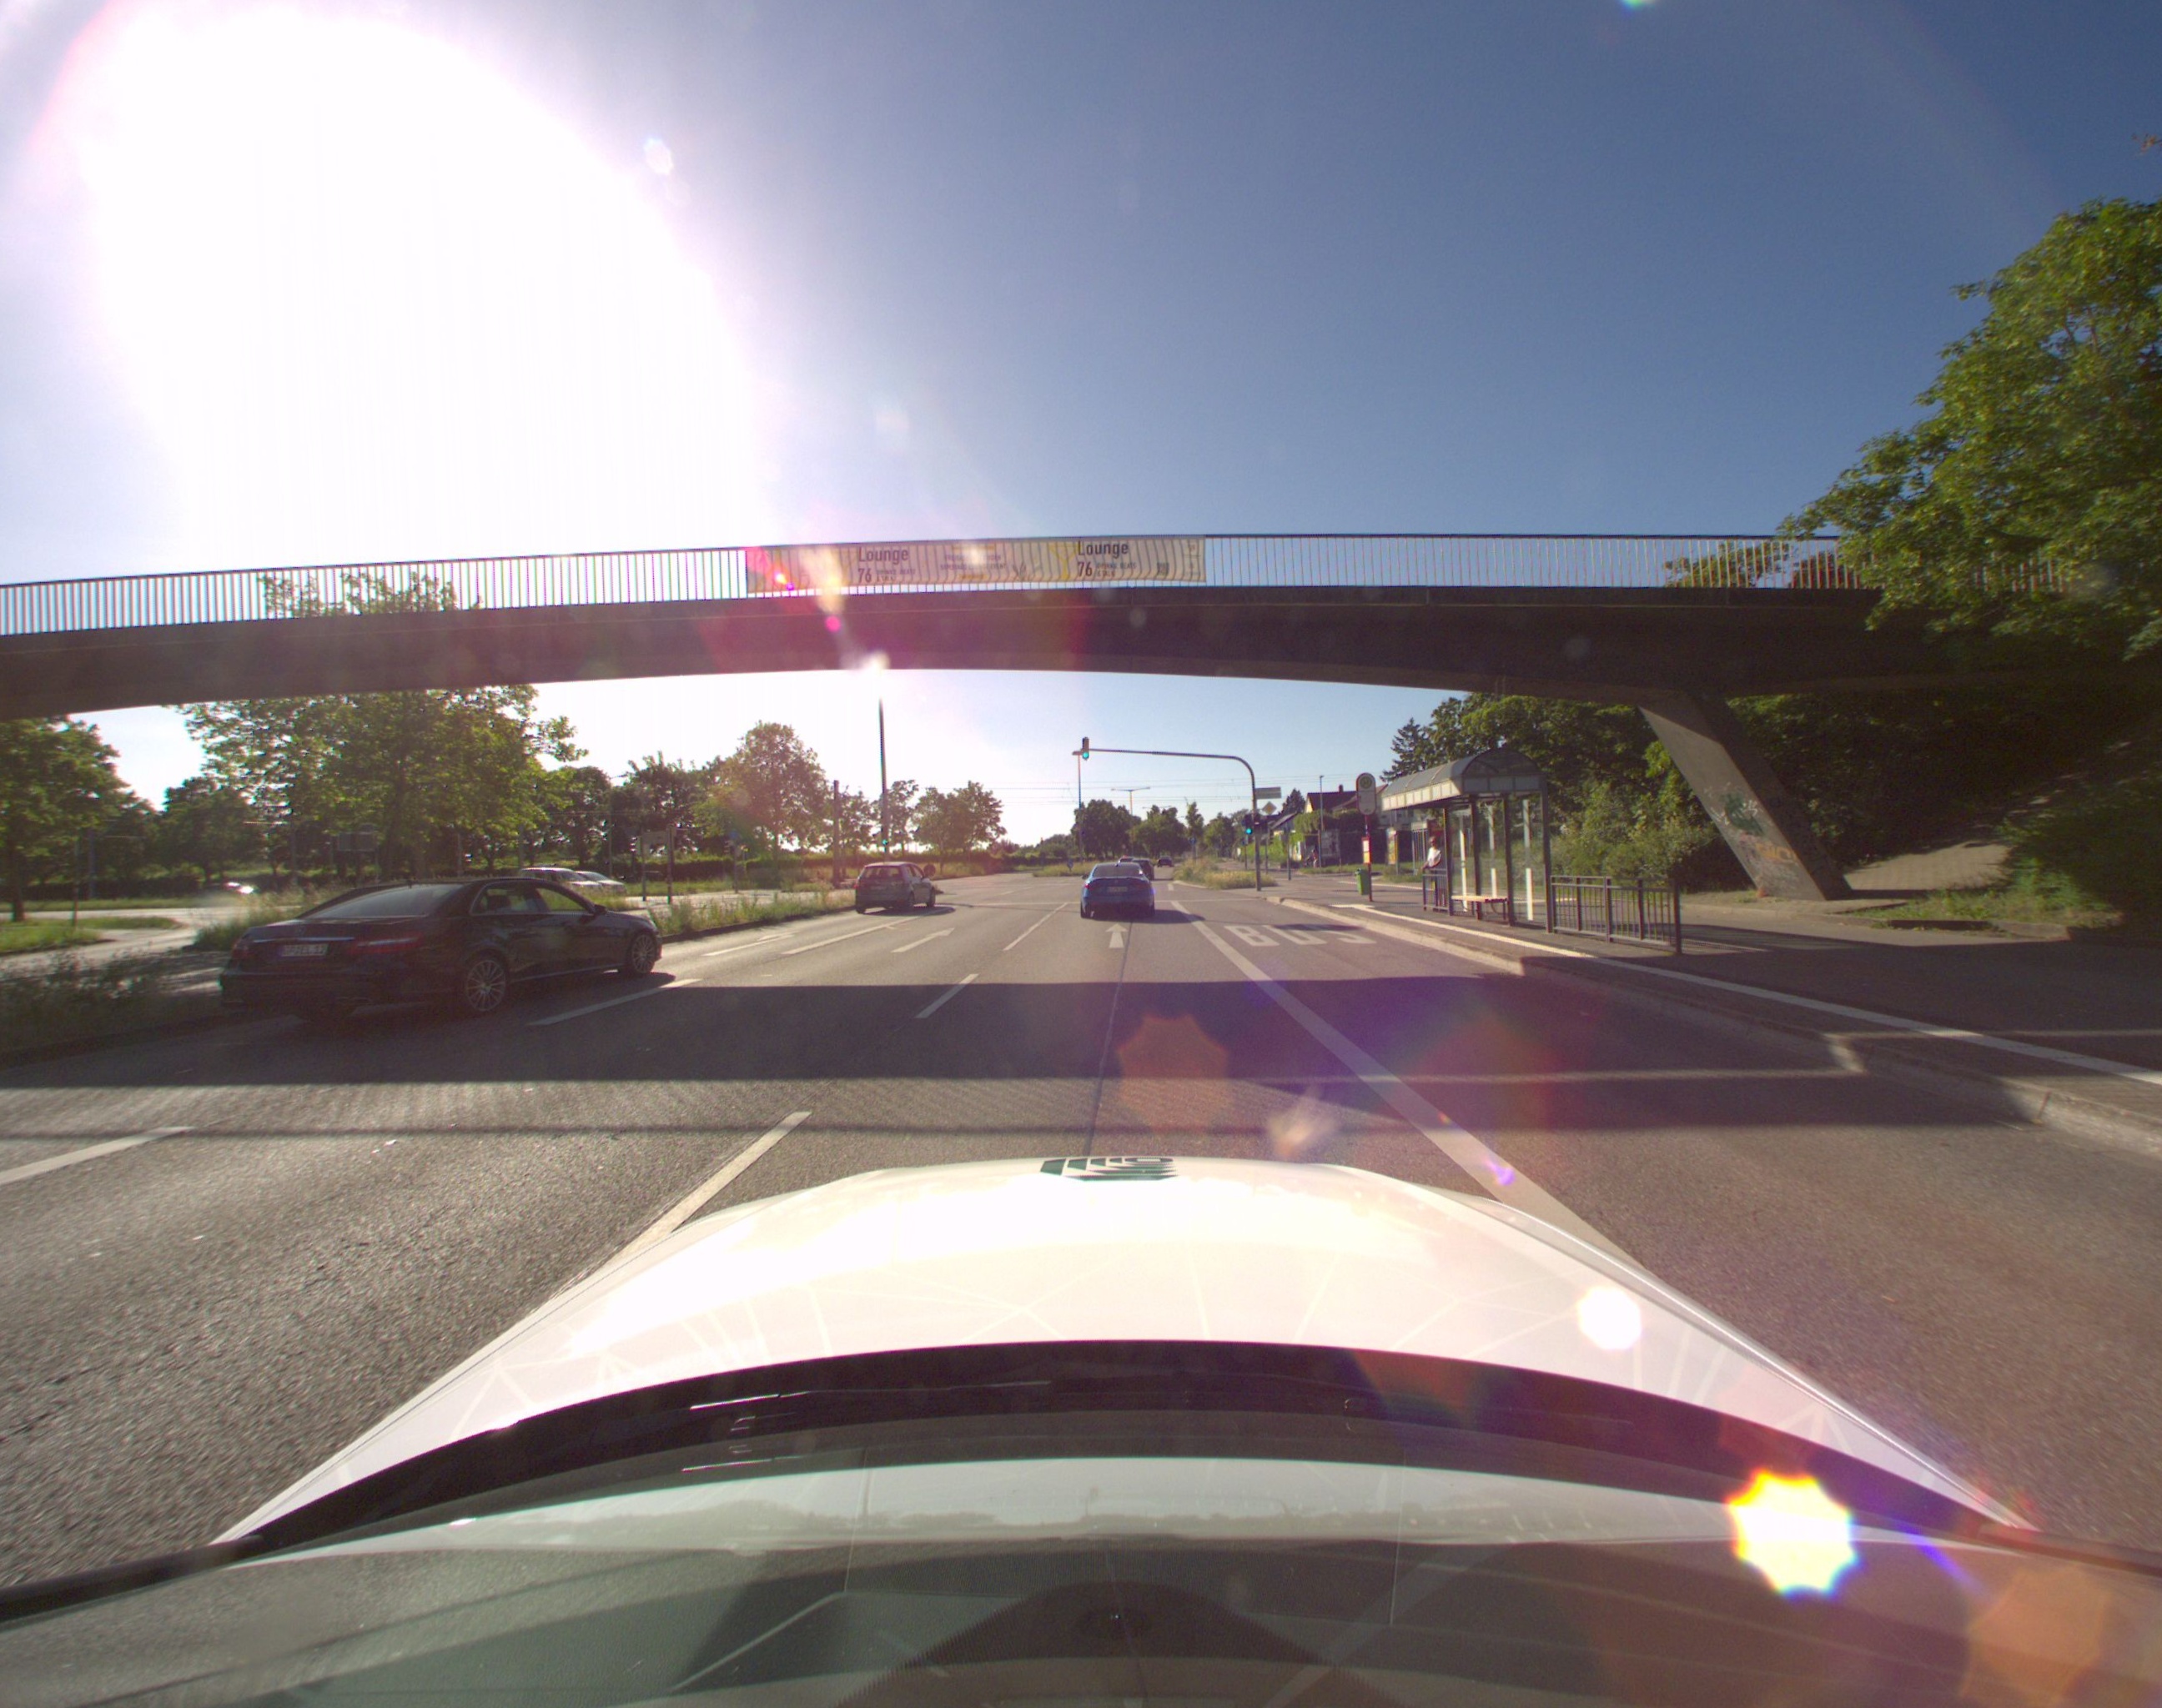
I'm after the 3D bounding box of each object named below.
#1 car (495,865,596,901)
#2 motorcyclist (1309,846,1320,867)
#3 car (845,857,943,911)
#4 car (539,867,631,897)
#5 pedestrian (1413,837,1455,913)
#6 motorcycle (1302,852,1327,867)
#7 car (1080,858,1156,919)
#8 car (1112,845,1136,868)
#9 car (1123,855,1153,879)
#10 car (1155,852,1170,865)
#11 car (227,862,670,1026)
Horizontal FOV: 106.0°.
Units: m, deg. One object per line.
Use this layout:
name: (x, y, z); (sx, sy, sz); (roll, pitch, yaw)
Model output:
car: (-27.161, 1.460, 41.393); (3.972, 1.754, 1.778); (-1, -1, 1)
motorcyclist: (17.722, 0.221, 61.738); (0.689, 1.558, 0.701); (-2, -1, 9)
car: (-6.029, 0.939, 26.758); (1.833, 1.571, 4.392); (-2, -1, 5)
car: (-27.206, 1.540, 44.788); (3.898, 1.560, 1.853); (-1, -1, 1)
pedestrian: (7.949, 0.465, 18.360); (0.585, 1.662, 0.717); (-2, -1, 0)
motorcycle: (17.684, 0.450, 61.689); (1.745, 1.071, 0.452); (-2, -1, 9)
car: (1.015, 0.861, 22.062); (1.831, 1.474, 4.187); (-1, 0, 3)
car: (3.985, 0.267, 75.107); (1.782, 2.014, 4.010); (-1, -1, 9)
car: (3.974, 0.880, 56.249); (1.905, 1.579, 4.189); (-1, 0, 6)
car: (10.352, 0.549, 103.141); (1.651, 1.579, 3.818); (-1, -1, 9)
car: (-7.122, 0.876, 9.959); (1.767, 1.486, 4.531); (-1, 0, 2)
